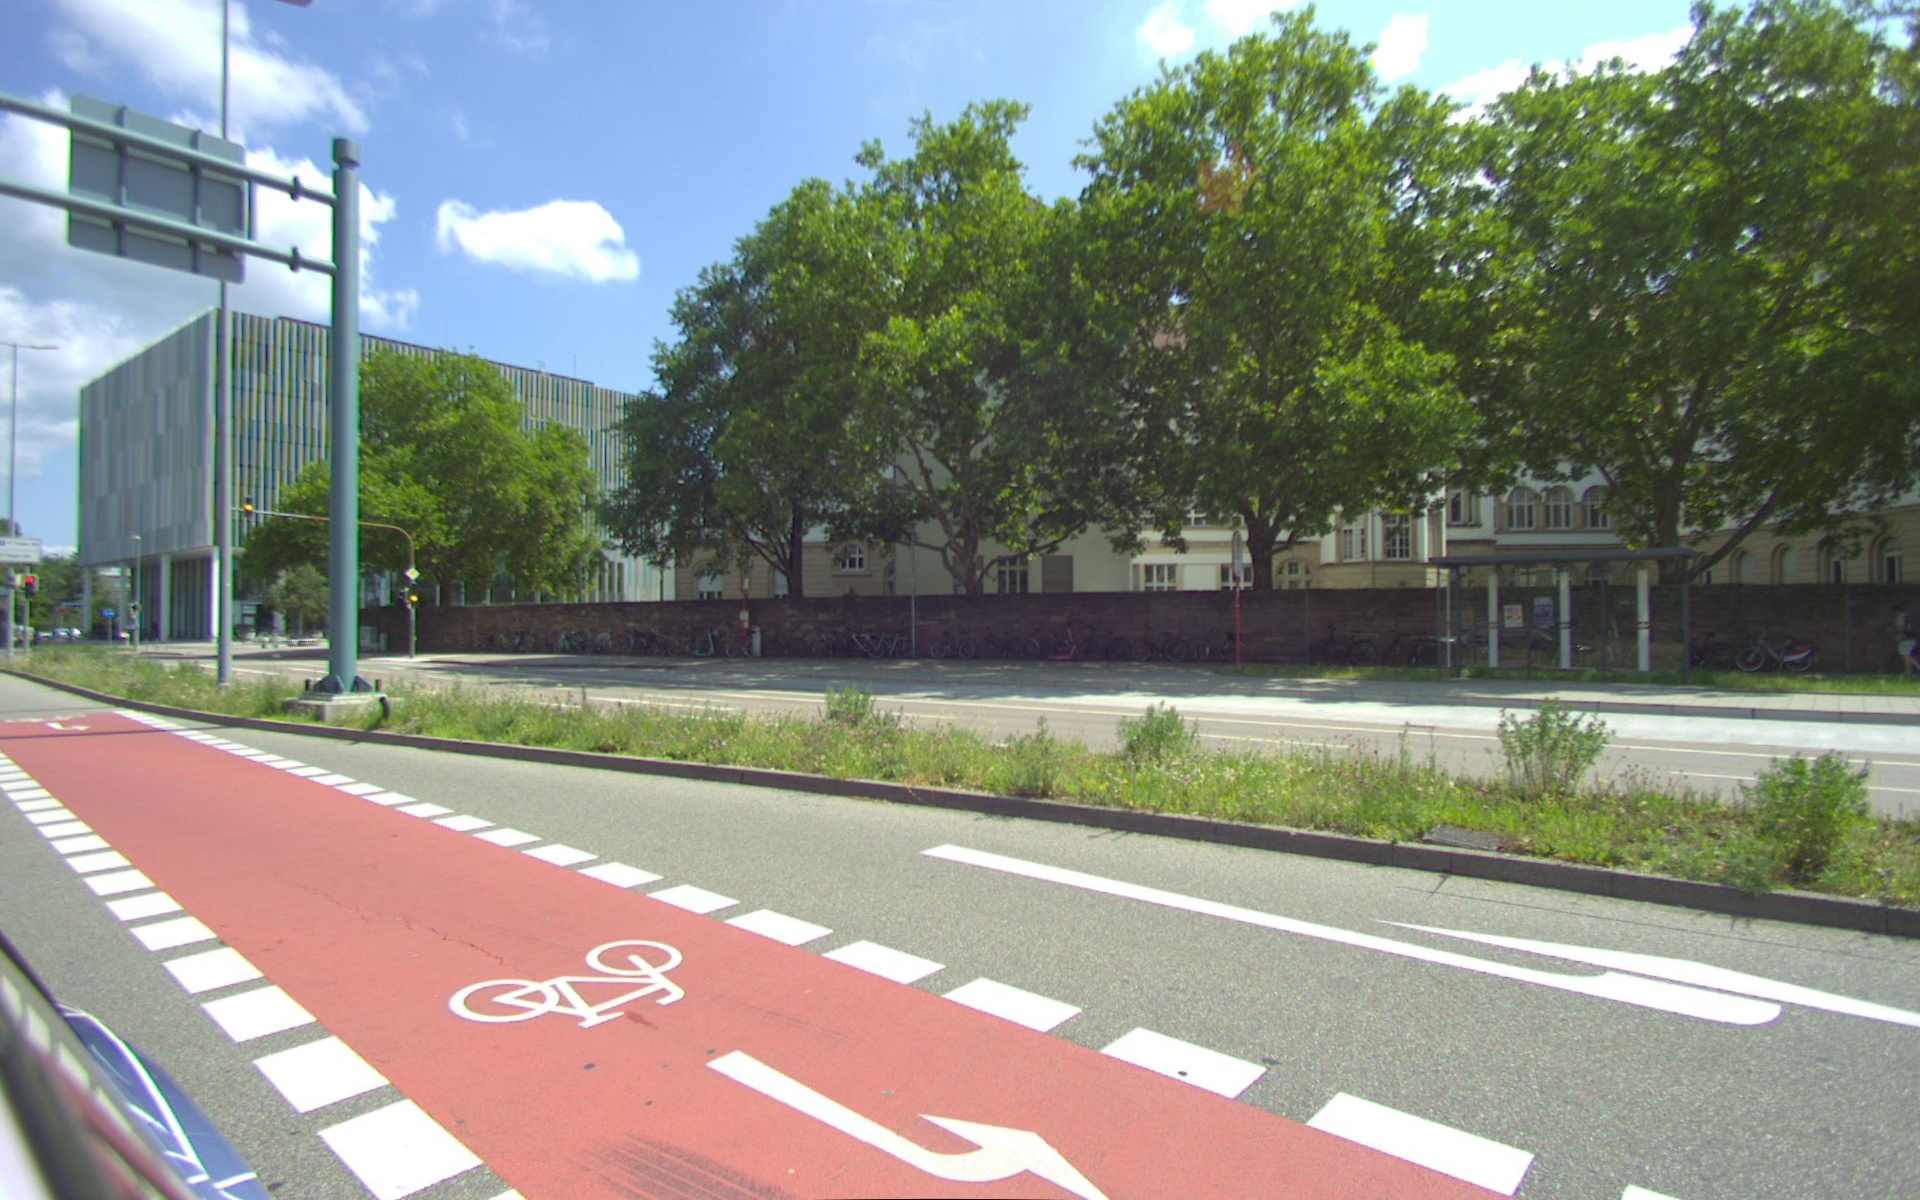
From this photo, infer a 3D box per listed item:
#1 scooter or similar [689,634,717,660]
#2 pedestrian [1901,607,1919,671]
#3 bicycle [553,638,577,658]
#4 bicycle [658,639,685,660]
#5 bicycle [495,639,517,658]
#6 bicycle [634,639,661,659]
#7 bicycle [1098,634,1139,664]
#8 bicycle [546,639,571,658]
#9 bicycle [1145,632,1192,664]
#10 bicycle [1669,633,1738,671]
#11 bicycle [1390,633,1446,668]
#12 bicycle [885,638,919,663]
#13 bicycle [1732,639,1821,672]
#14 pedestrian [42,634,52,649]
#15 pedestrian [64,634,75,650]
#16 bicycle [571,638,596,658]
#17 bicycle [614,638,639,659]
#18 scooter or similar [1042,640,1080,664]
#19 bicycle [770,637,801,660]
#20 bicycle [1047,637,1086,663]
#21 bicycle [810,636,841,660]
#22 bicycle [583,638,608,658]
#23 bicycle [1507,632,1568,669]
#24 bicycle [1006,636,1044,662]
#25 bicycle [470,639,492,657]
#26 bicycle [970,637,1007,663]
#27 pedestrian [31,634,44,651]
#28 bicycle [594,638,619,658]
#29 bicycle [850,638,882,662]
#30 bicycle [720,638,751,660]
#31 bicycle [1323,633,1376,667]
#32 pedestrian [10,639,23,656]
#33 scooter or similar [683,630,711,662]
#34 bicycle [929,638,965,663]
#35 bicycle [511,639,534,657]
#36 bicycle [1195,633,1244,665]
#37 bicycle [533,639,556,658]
[{"bbox_3d":[-10.148,1.851,39.919,1.133,1.028,0.264,-1,-2,19],"label":"scooter or similar"},{"bbox_3d":[22.243,0.894,23.403,0.633,1.484,0.504,-2,-2,39],"label":"pedestrian"},{"bbox_3d":[-17.410,2.111,44.560,1.230,0.837,0.262,-1,-2,29],"label":"bicycle"},{"bbox_3d":[-11.554,1.966,40.556,1.231,0.837,0.262,-2,-2,30],"label":"bicycle"},{"bbox_3d":[-21.056,2.253,46.966,1.231,0.837,0.262,-2,-2,30],"label":"bicycle"},{"bbox_3d":[-12.784,2.005,41.397,1.231,0.837,0.262,-2,-2,30],"label":"bicycle"},{"bbox_3d":[4.935,1.522,31.584,1.230,0.915,0.262,-1,-2,28],"label":"bicycle"},{"bbox_3d":[-17.464,2.104,44.005,1.230,0.837,0.262,-1,-2,29],"label":"bicycle"},{"bbox_3d":[6.395,1.476,31.035,1.385,0.972,0.263,-1,-2,20],"label":"bicycle"},{"bbox_3d":[19.227,1.346,26.193,1.384,0.972,0.263,-1,-2,18],"label":"bicycle"},{"bbox_3d":[12.859,1.405,28.417,1.384,0.972,0.263,-1,-2,18],"label":"bicycle"},{"bbox_3d":[-2.020,1.751,35.116,1.231,0.837,0.262,-1,-2,30],"label":"bicycle"},{"bbox_3d":[20.739,1.406,25.719,1.734,0.823,0.327,-1,-2,18],"label":"bicycle"},{"bbox_3d":[-89.087,4.052,98.723,0.686,1.464,0.689,1,-3,-45],"label":"pedestrian"},{"bbox_3d":[-83.711,3.948,95.158,0.689,1.464,0.687,-2,-3,44],"label":"pedestrian"},{"bbox_3d":[-16.271,2.082,43.726,1.231,0.837,0.262,-2,-2,30],"label":"bicycle"},{"bbox_3d":[-13.910,2.026,42.181,1.231,0.837,0.262,-2,-2,30],"label":"bicycle"},{"bbox_3d":[3.173,1.629,31.807,1.133,0.734,0.264,-1,-2,18],"label":"scooter or similar"},{"bbox_3d":[-6.474,1.782,37.567,1.231,0.837,0.262,-1,-2,30],"label":"bicycle"},{"bbox_3d":[3.404,1.594,32.456,1.230,0.837,0.262,-1,-2,28],"label":"bicycle"},{"bbox_3d":[-4.894,1.741,36.857,1.231,0.837,0.262,-1,-2,30],"label":"bicycle"},{"bbox_3d":[-15.335,2.004,42.556,1.230,0.837,0.262,-1,-2,29],"label":"bicycle"},{"bbox_3d":[15.625,1.369,27.387,1.384,0.972,0.263,-1,-2,18],"label":"bicycle"},{"bbox_3d":[2.127,1.610,33.068,1.230,0.837,0.262,-1,-2,28],"label":"bicycle"},{"bbox_3d":[-22.695,2.282,47.959,1.231,0.837,0.262,-2,-2,30],"label":"bicycle"},{"bbox_3d":[0.956,1.655,33.718,1.230,0.837,0.262,-1,-2,28],"label":"bicycle"},{"bbox_3d":[-79.506,3.656,87.205,0.687,1.464,0.689,-2,-2,34],"label":"pedestrian"},{"bbox_3d":[-14.988,2.016,42.880,1.231,0.837,0.262,-2,-2,30],"label":"bicycle"},{"bbox_3d":[-3.334,1.753,35.896,1.231,0.837,0.262,-1,-2,30],"label":"bicycle"},{"bbox_3d":[-8.651,1.886,38.949,1.226,0.837,0.263,-1,-2,19],"label":"bicycle"},{"bbox_3d":[11.174,1.427,29.031,1.384,0.972,0.263,-1,-2,18],"label":"bicycle"},{"bbox_3d":[-94.313,4.780,101.149,0.994,1.669,0.853,-2,-2,39],"label":"pedestrian"},{"bbox_3d":[-10.113,1.760,38.909,1.230,1.199,0.262,-1,-2,29],"label":"scooter or similar"},{"bbox_3d":[-0.433,1.693,34.283,1.230,0.837,0.262,-1,-2,28],"label":"bicycle"},{"bbox_3d":[-19.976,2.183,46.198,1.230,0.837,0.262,-1,-2,29],"label":"bicycle"},{"bbox_3d":[7.801,1.470,30.415,1.389,0.972,0.262,-1,-2,28],"label":"bicycle"},{"bbox_3d":[-18.599,2.162,45.310,1.230,0.837,0.262,-1,-2,29],"label":"bicycle"}]
